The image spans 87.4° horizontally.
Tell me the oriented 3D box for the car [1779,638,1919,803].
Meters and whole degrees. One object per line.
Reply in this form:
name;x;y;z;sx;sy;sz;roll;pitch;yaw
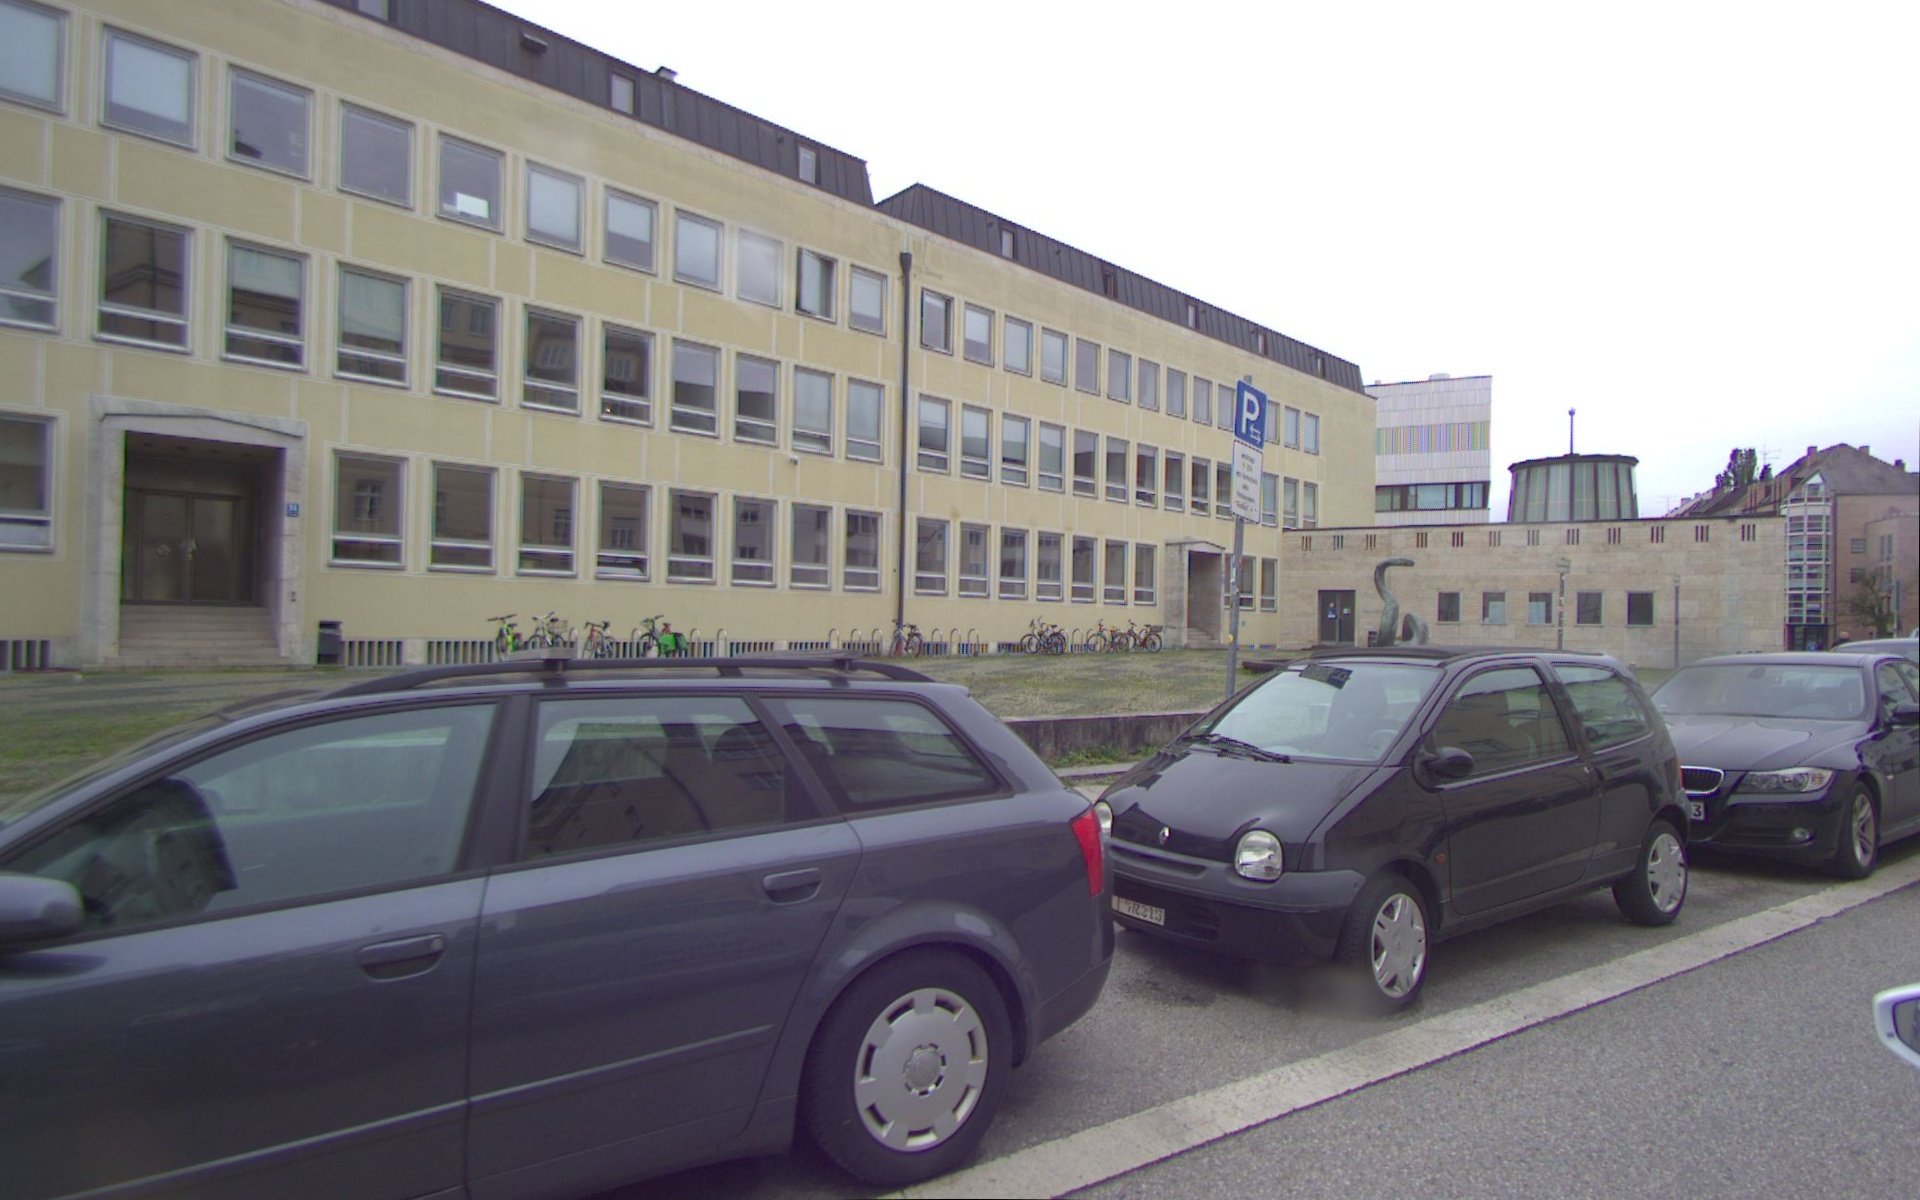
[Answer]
car;9.700;1.128;10.086;2.857;1.484;1.510;1;-3;-34

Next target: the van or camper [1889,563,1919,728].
van or camper;17.958;0.774;17.244;6.037;2.616;2.277;1;0;-41

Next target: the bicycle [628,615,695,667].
bicycle;-7.063;0.946;23.721;0.698;1.110;1.826;1;0;-45

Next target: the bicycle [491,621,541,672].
bicycle;-9.366;0.952;21.134;0.411;0.957;1.934;1;0;-40

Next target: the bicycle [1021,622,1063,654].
bicycle;2.699;1.247;33.069;0.412;0.957;1.456;1;0;-45

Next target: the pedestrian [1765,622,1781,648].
pedestrian;53.295;2.290;65.878;0.753;1.651;0.916;1;0;42

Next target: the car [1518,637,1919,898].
car;6.331;1.043;7.716;4.420;1.484;1.763;1;-3;-34

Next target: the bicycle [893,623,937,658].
bicycle;-1.317;1.163;29.154;0.412;0.957;1.392;1;0;-45

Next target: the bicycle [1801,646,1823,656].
bicycle;84.449;5.045;99.579;1.083;0.865;1.728;1;-1;19

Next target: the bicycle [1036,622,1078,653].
bicycle;3.237;1.258;33.705;0.412;0.957;1.456;1;0;-45

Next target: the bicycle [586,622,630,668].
bicycle;-7.911;0.995;22.555;0.411;0.957;1.394;1;0;-42

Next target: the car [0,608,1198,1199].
car;-1.468;0.817;2.816;4.225;1.514;1.623;1;-3;-30

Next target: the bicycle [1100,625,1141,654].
bicycle;5.697;1.392;35.681;0.412;0.957;1.456;1;0;-45

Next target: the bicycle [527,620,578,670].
bicycle;-8.777;0.954;21.591;0.411;0.957;1.841;1;0;-42

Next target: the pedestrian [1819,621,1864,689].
pedestrian;25.149;1.547;28.662;0.830;1.891;0.712;1;0;33

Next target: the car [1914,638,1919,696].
car;27.362;1.724;25.810;3.732;1.527;1.716;-1;-3;12

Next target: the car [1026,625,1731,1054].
car;2.259;0.927;5.227;3.564;1.514;1.622;1;-3;-32

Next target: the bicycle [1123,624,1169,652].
bicycle;6.773;1.376;36.598;0.412;0.957;1.689;1;0;-45
